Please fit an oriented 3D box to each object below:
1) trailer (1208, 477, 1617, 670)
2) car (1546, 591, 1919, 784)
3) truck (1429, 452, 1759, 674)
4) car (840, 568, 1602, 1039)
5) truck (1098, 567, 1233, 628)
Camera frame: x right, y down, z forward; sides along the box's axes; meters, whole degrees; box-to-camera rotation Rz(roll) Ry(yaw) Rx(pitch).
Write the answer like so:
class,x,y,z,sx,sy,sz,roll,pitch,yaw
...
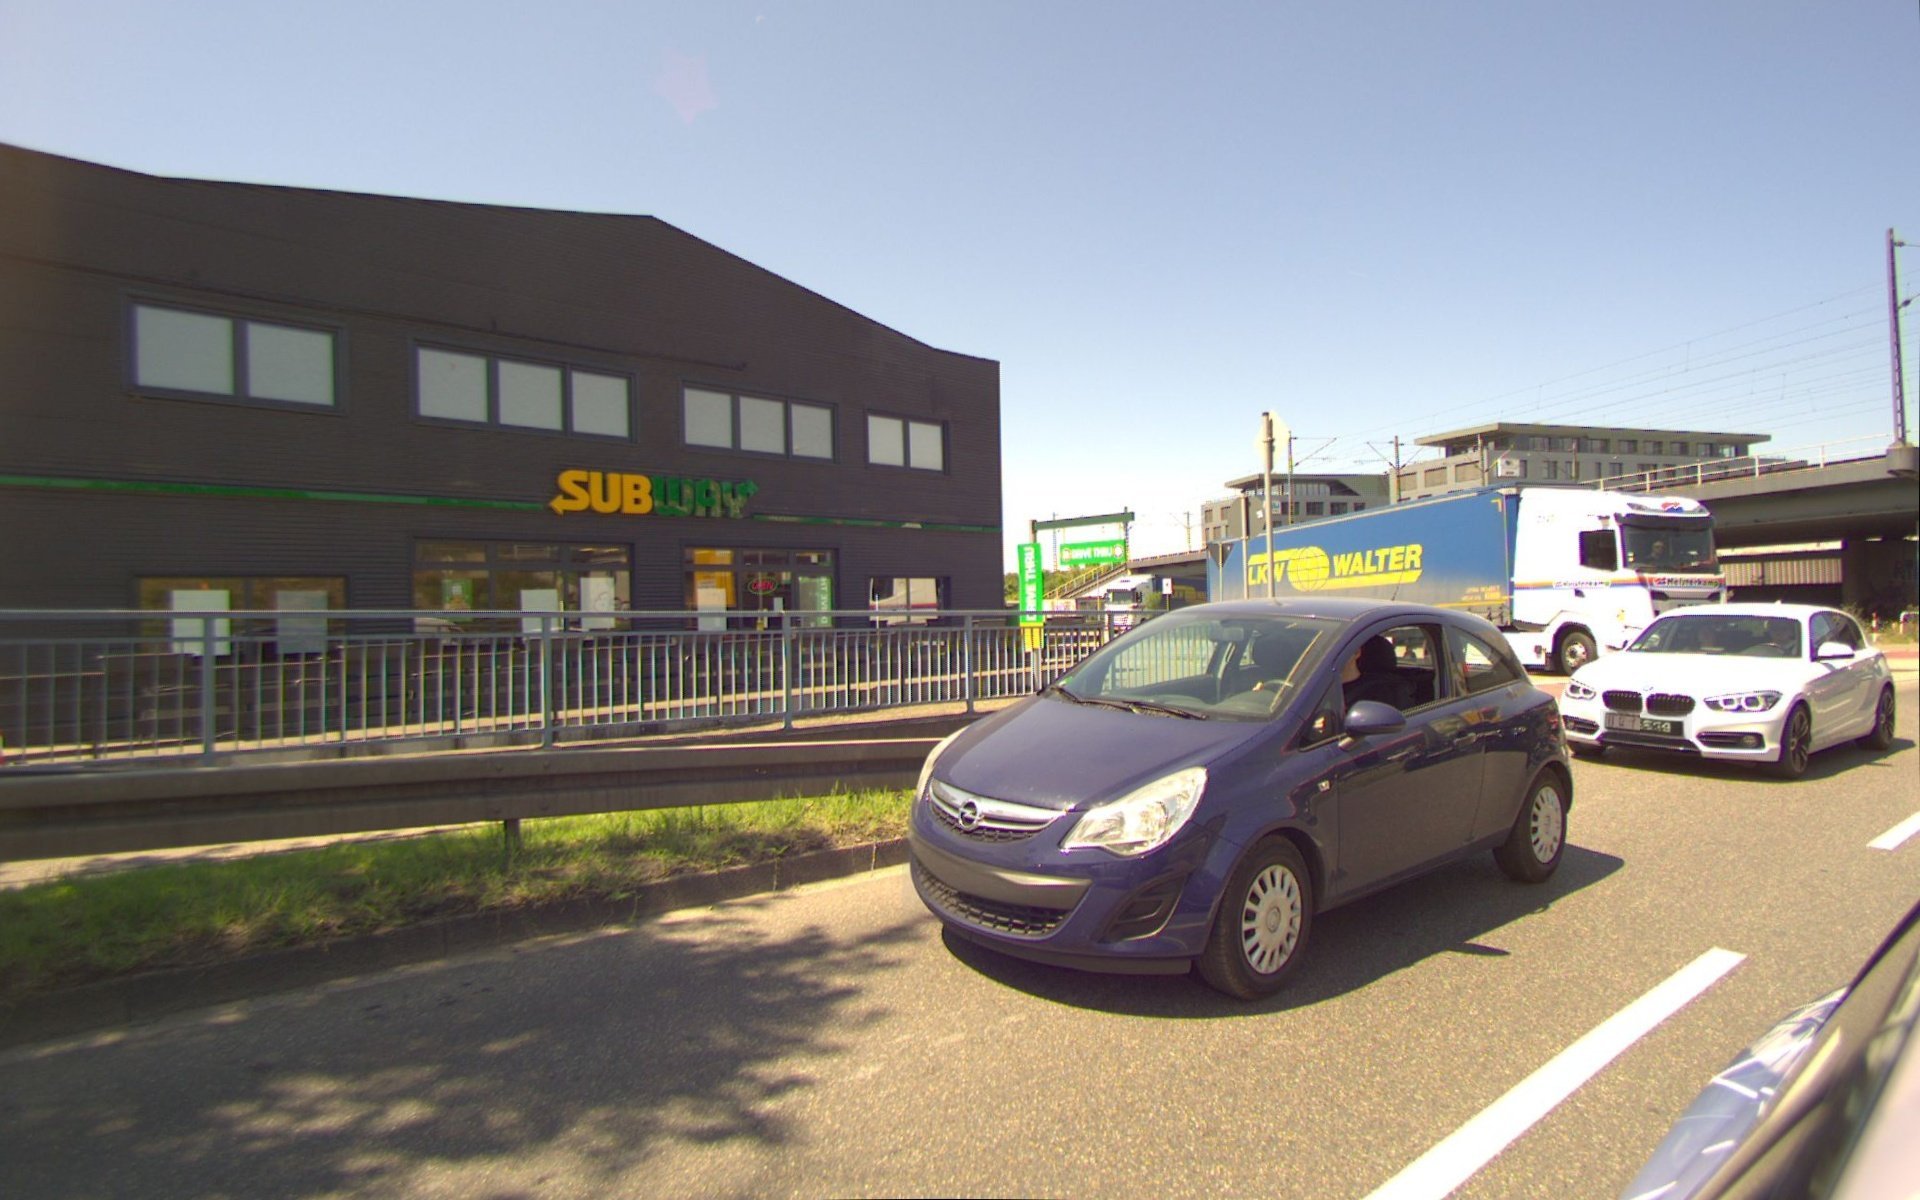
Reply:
class,x,y,z,sx,sy,sz,roll,pitch,yaw
trailer,11.555,-0.471,28.770,2.448,4.143,13.930,-1,-1,-14
car,7.508,0.669,9.710,3.976,1.461,1.764,0,1,-35
truck,13.326,-0.634,21.949,2.522,4.155,5.771,-1,-2,-14
car,1.474,0.645,4.988,3.819,1.462,1.650,0,-1,-38
truck,15.929,-0.259,76.391,2.737,4.155,17.206,-1,0,37
